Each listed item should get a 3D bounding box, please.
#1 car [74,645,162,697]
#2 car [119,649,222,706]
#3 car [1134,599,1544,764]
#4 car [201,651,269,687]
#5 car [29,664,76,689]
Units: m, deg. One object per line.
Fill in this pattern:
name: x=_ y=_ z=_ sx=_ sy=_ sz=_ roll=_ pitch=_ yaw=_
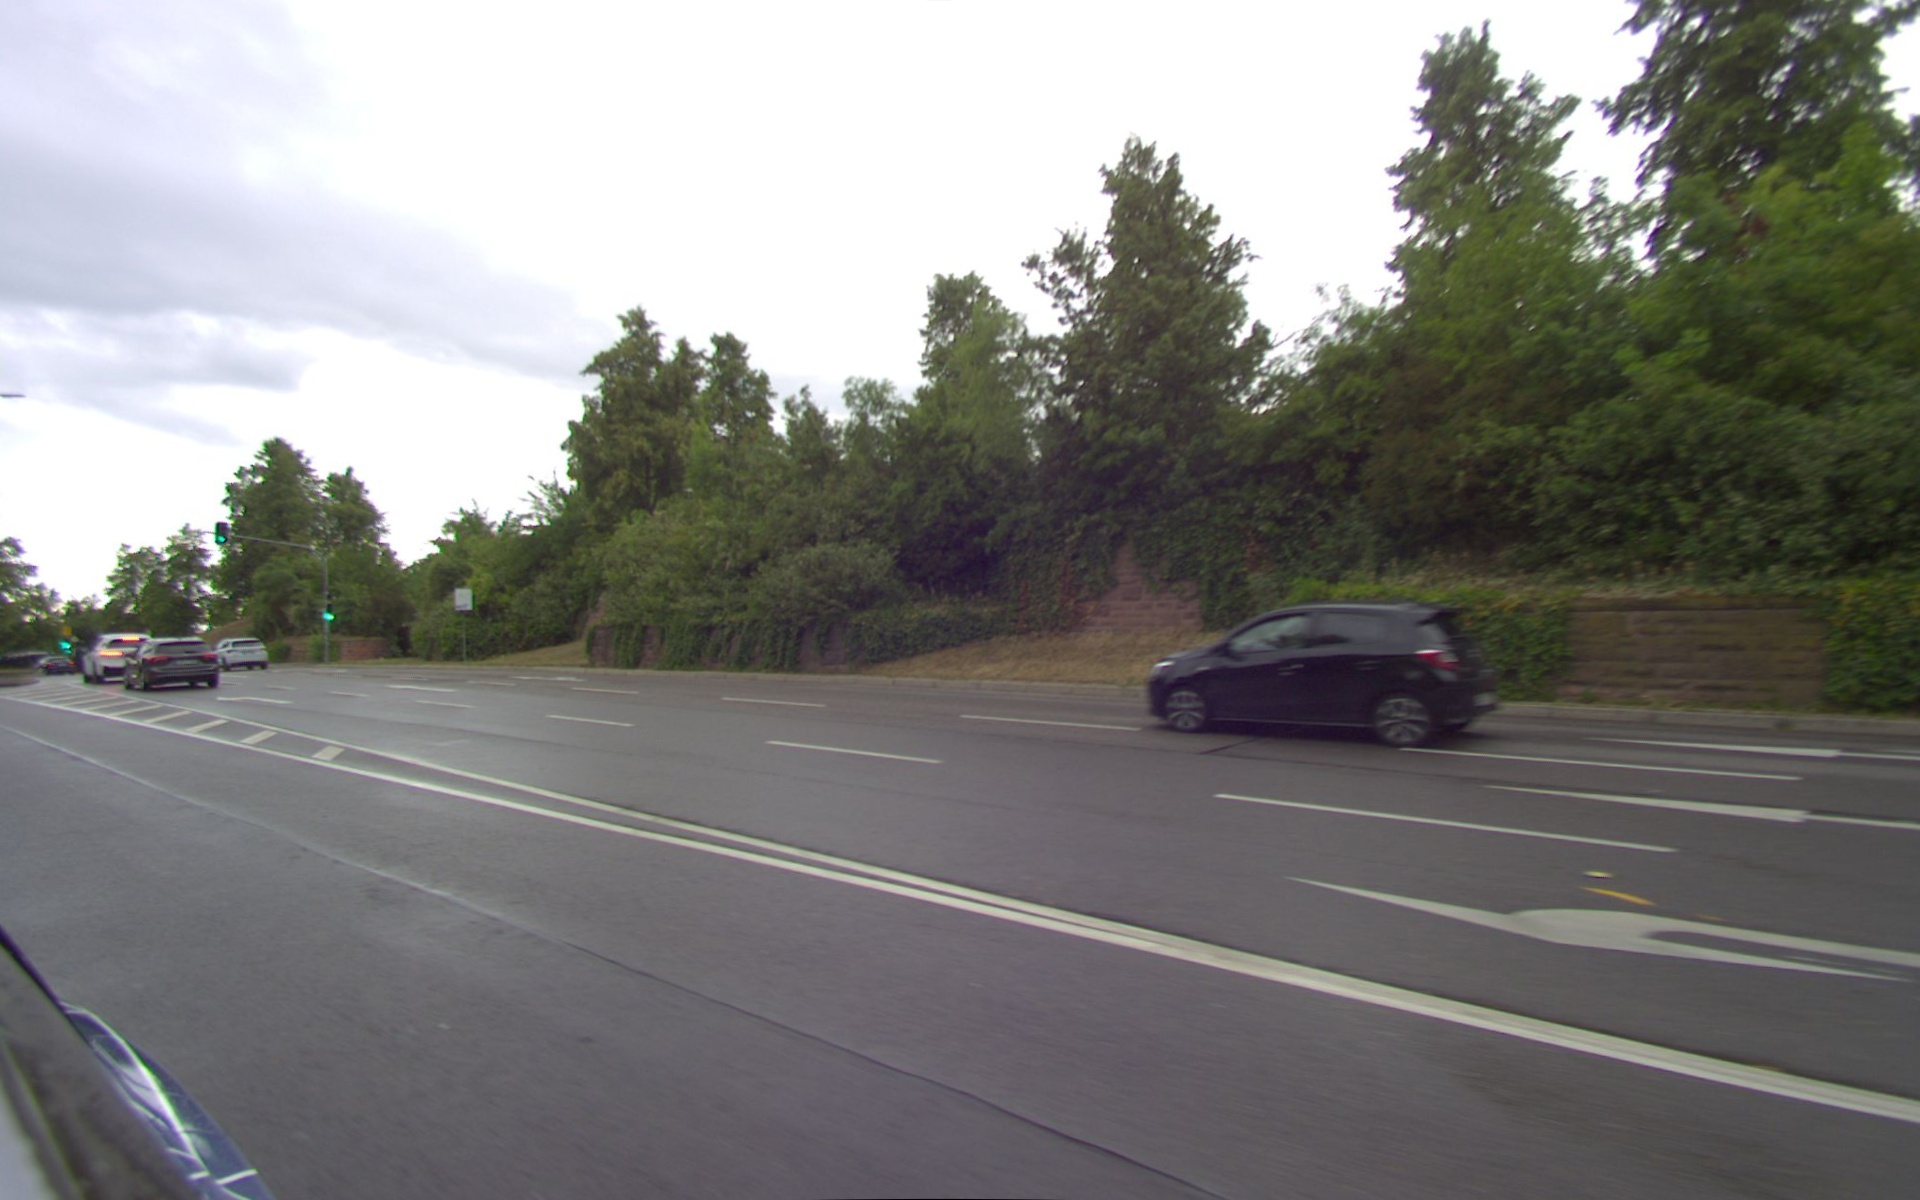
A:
car: x=-30.073 y=2.511 z=36.096 sx=4.450 sy=1.668 sz=1.865 roll=-3 pitch=-2 yaw=43
car: x=-23.022 y=2.217 z=29.466 sx=3.997 sy=1.479 sz=1.757 roll=-3 pitch=-2 yaw=43
car: x=4.035 y=0.815 z=11.167 sx=3.861 sy=1.478 sz=1.656 roll=-3 pitch=-1 yaw=43
car: x=-36.110 y=3.410 z=50.385 sx=4.449 sy=1.668 sz=1.866 roll=-3 pitch=-2 yaw=42
car: x=-68.442 y=5.749 z=76.303 sx=4.334 sy=1.668 sz=1.868 roll=-3 pitch=-2 yaw=38
